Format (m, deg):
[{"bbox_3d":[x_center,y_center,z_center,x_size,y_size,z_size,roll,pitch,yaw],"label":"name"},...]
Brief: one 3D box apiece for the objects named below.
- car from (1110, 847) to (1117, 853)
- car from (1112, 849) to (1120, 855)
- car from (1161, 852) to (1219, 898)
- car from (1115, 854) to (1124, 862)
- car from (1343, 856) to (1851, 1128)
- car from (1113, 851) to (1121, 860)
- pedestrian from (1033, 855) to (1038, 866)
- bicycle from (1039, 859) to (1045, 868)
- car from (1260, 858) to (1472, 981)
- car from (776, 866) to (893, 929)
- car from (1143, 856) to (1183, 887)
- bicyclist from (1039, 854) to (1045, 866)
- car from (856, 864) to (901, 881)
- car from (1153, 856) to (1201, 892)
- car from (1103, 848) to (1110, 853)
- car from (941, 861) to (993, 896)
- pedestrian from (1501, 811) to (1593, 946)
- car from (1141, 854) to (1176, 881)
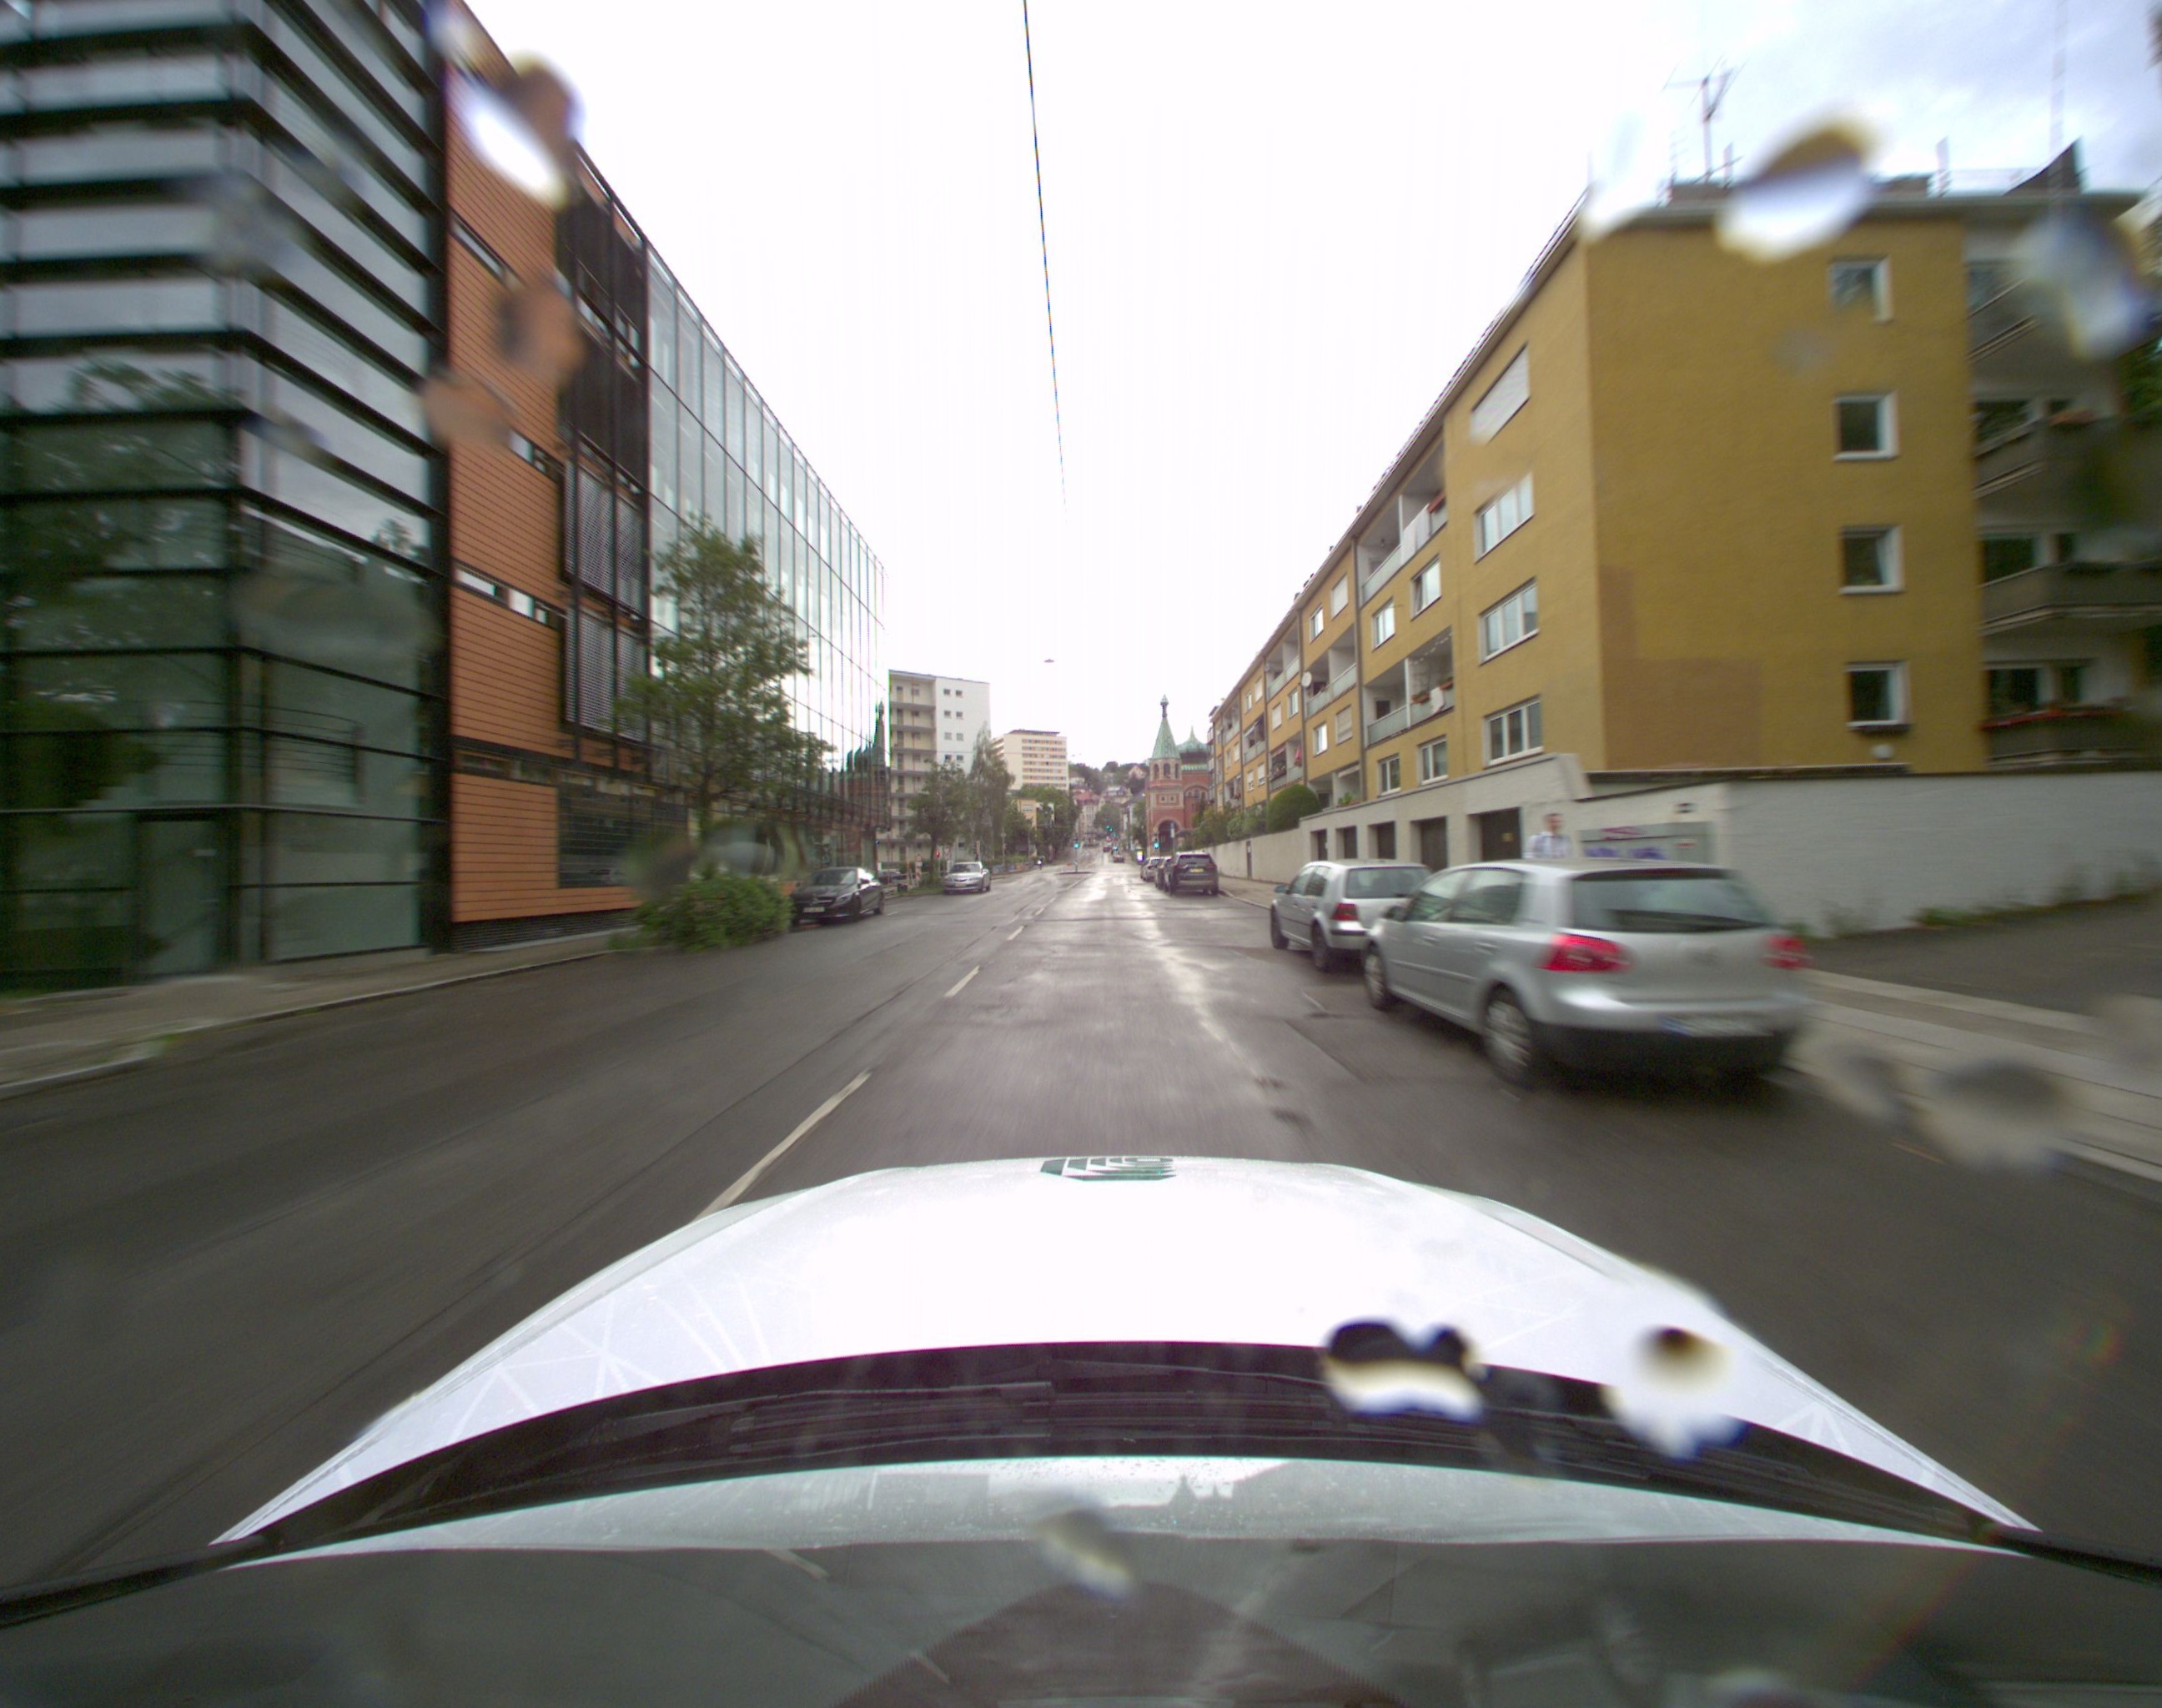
[{"bbox_3d":[8.718,-1.066,219.505,1.901,1.510,4.001,0,0,1],"label":"car"},{"bbox_3d":[8.655,-0.544,203.464,1.885,1.510,4.001,0,0,1],"label":"car"},{"bbox_3d":[4.223,0.779,32.092,1.811,1.652,4.077,0,0,1],"label":"car"},{"bbox_3d":[7.929,0.829,166.764,1.724,1.653,4.005,-1,0,4],"label":"car"},{"bbox_3d":[3.603,0.797,6.647,1.658,1.502,3.921,-1,0,0],"label":"car"},{"bbox_3d":[7.889,0.331,178.291,1.843,1.766,4.003,0,0,3],"label":"car"},{"bbox_3d":[-8.183,1.117,147.260,0.885,1.893,0.921,-1,0,-5],"label":"pedestrian"},{"bbox_3d":[-5.163,1.281,108.115,0.675,1.107,1.799,-1,0,-1],"label":"bicycle"},{"bbox_3d":[3.839,0.797,11.683,1.658,1.399,3.921,-1,0,0],"label":"car"},{"bbox_3d":[-6.620,1.112,22.451,1.798,1.450,4.656,-2,0,-1],"label":"car"},{"bbox_3d":[4.379,0.921,44.108,1.811,1.522,4.077,0,0,1],"label":"car"},{"bbox_3d":[-5.171,0.806,108.091,0.675,1.661,0.650,-1,0,-2],"label":"bicyclist"},{"bbox_3d":[-20.188,1.833,81.322,4.019,1.510,1.780,-2,1,-37],"label":"car"},{"bbox_3d":[4.383,0.861,37.570,1.811,1.522,4.077,0,0,1],"label":"car"},{"bbox_3d":[7.313,-0.983,235.768,1.901,1.510,4.001,0,0,1],"label":"car"},{"bbox_3d":[-5.230,1.074,37.827,1.704,1.450,4.294,-2,0,0],"label":"car"},{"bbox_3d":[6.393,0.314,11.192,0.770,1.732,0.737,-5,2,-28],"label":"pedestrian"},{"bbox_3d":[4.676,0.790,49.690,1.811,1.522,4.077,0,0,1],"label":"car"}]
